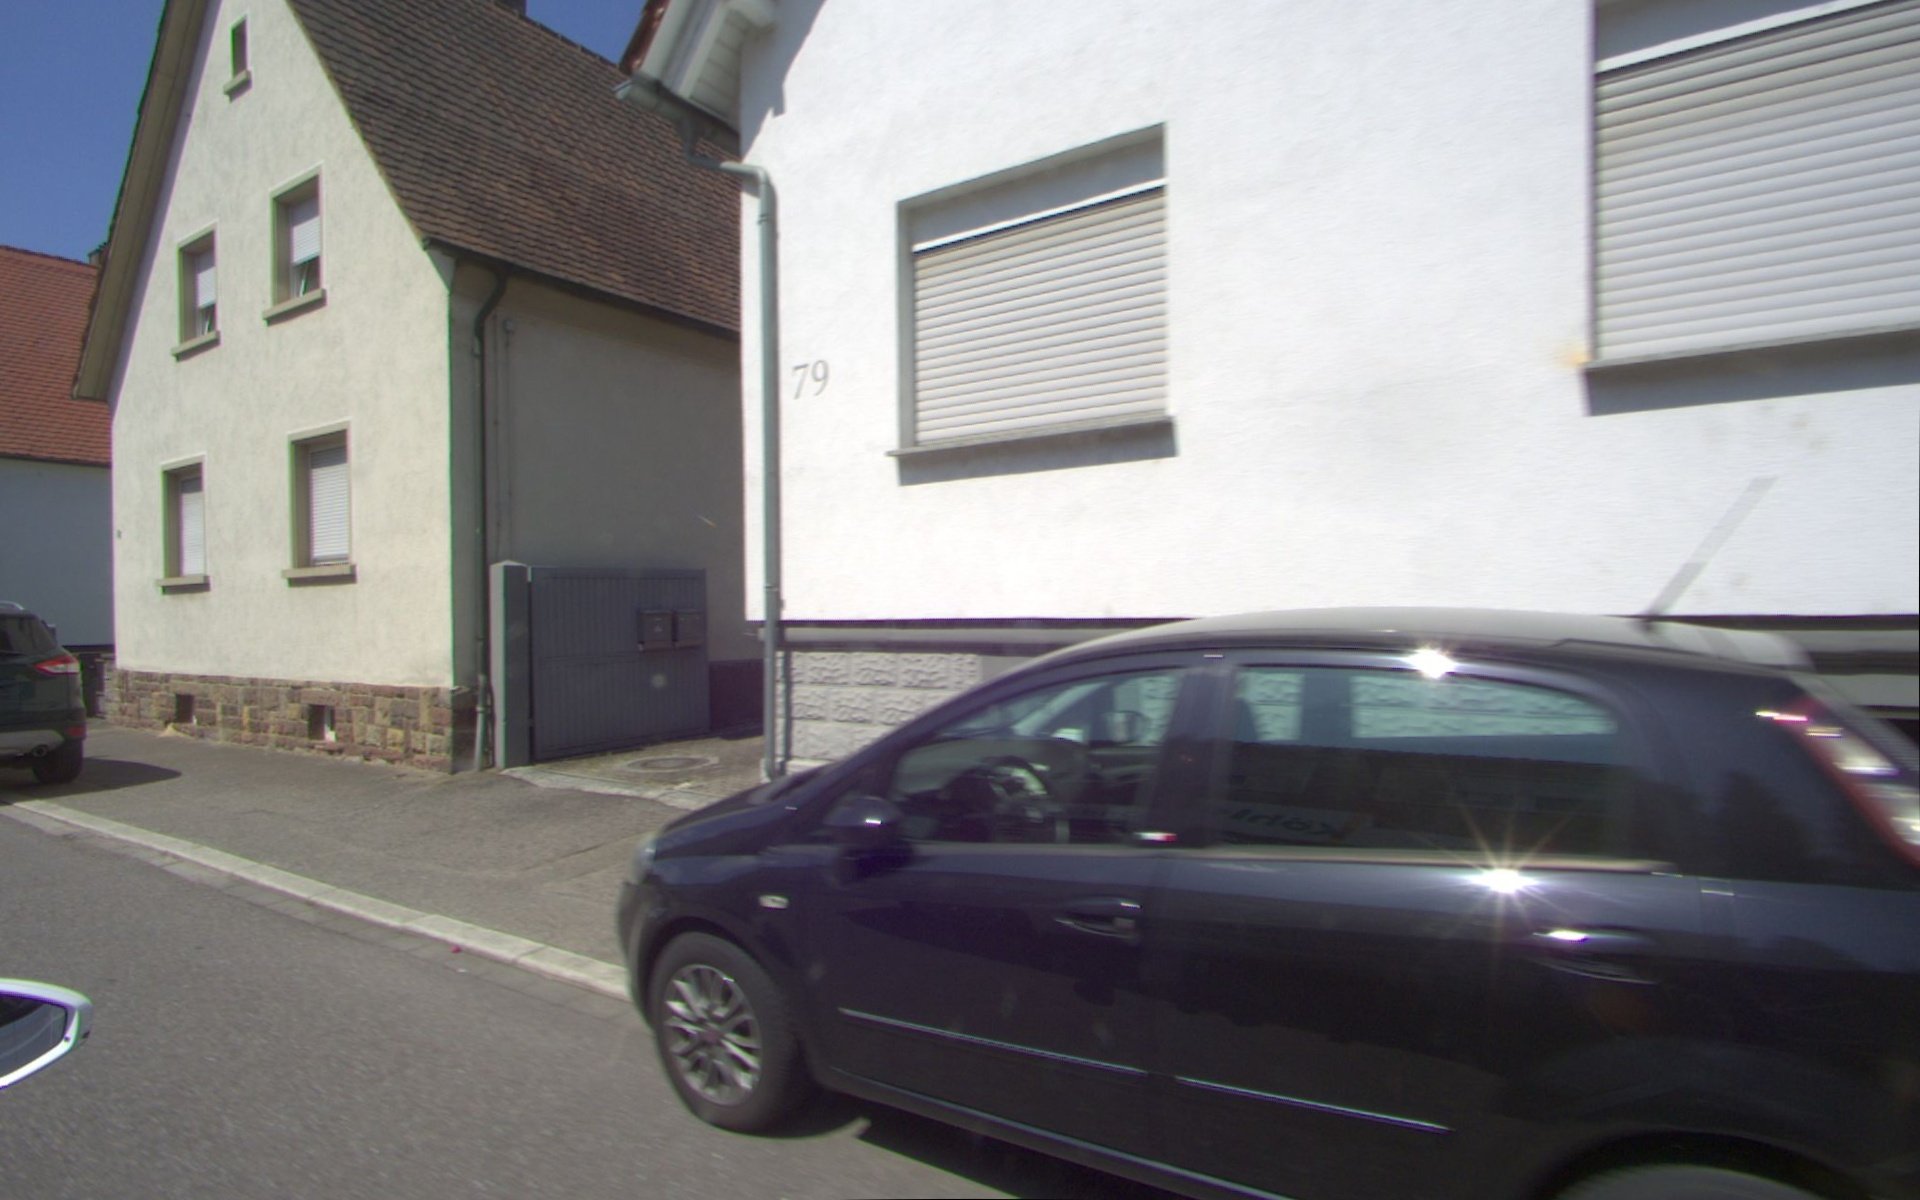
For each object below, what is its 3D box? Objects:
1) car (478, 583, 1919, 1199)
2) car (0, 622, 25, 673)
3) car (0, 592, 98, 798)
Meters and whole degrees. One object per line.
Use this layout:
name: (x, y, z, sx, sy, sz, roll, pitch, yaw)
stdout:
car: (0.429, 0.765, 3.080, 3.916, 1.516, 1.612, -1, 2, 33)
car: (-28.367, 1.340, 27.306, 1.716, 1.433, 3.912, -1, -1, 34)
car: (-10.024, 0.830, 9.404, 4.213, 1.739, 1.726, -1, -1, 31)
